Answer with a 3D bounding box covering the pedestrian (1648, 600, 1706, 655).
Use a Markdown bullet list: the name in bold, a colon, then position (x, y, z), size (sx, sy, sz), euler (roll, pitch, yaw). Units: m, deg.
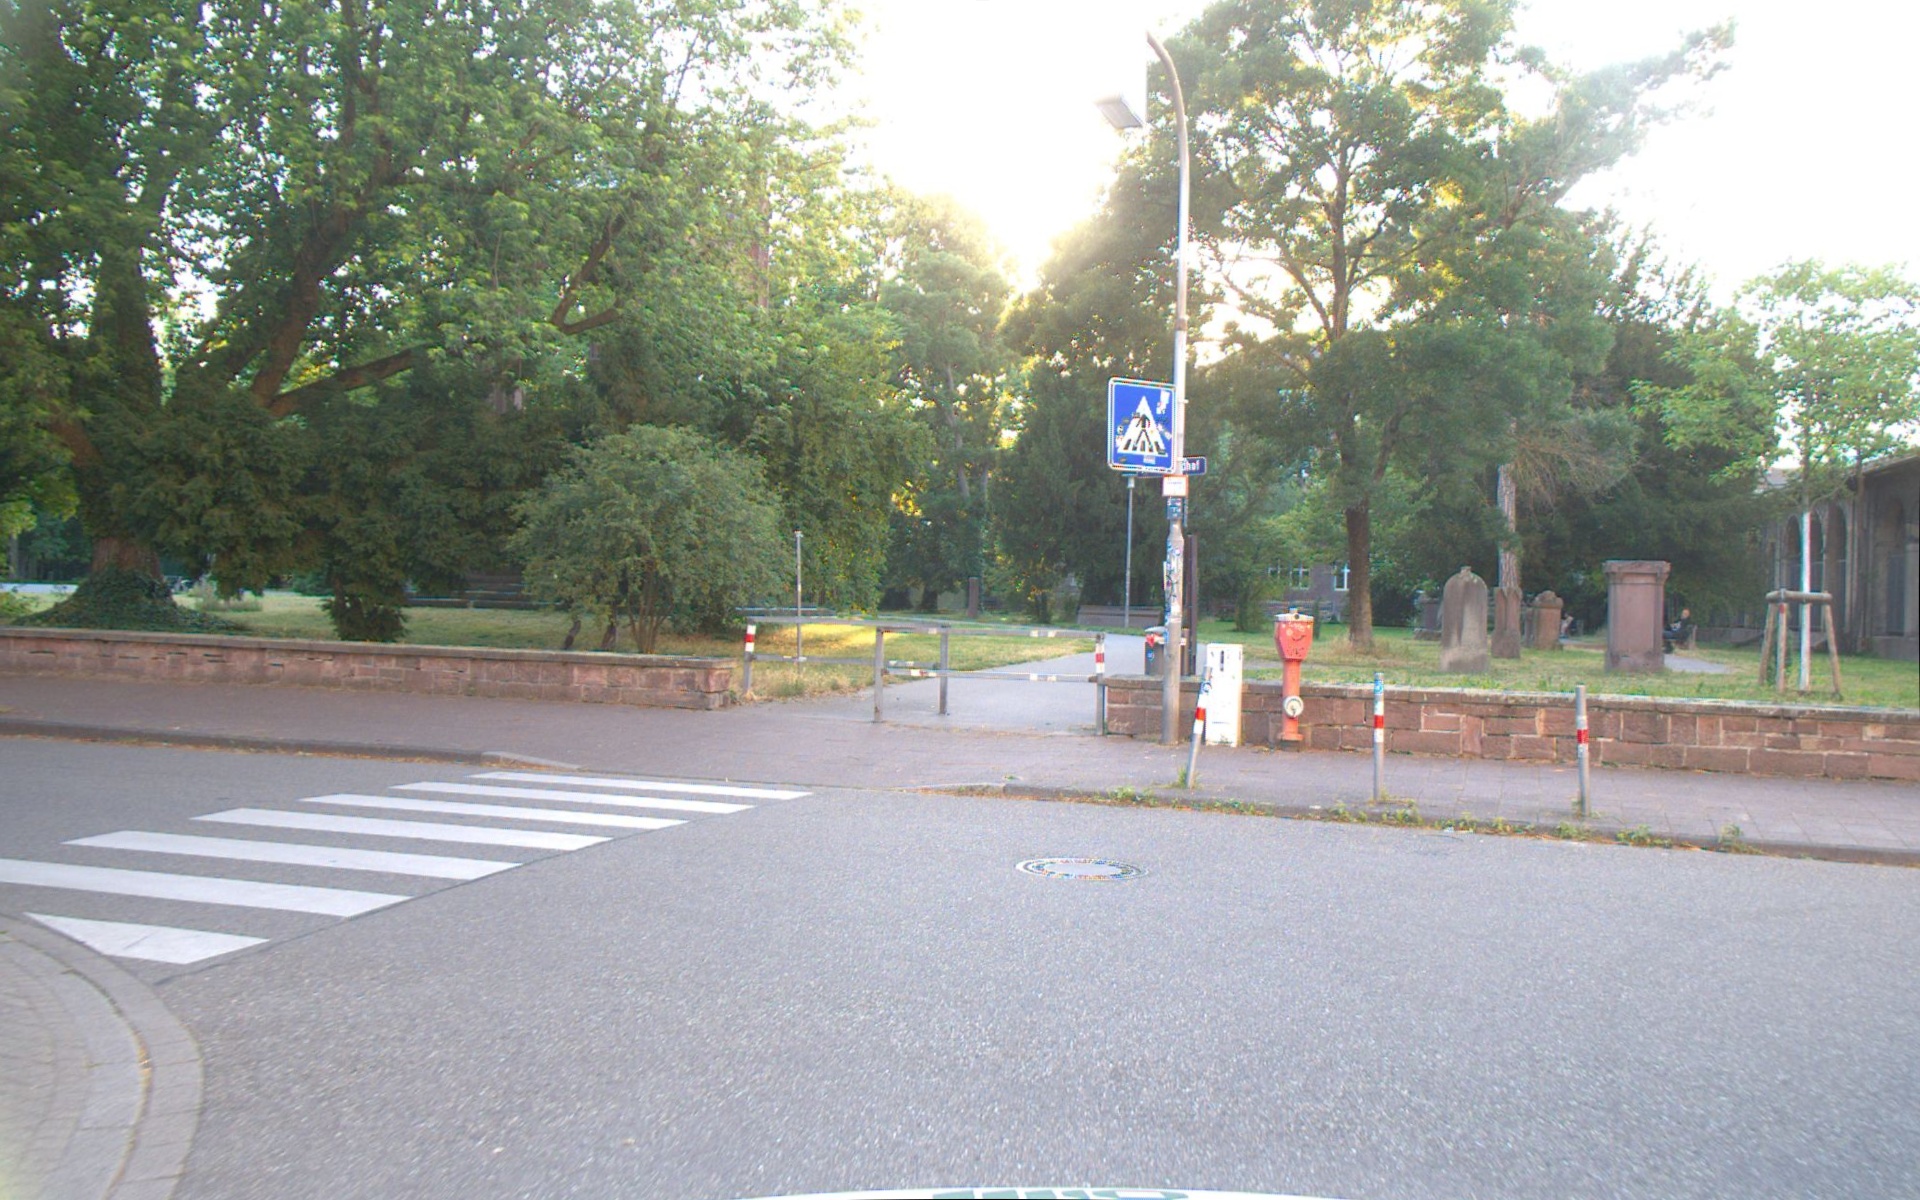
- **pedestrian**: position (19.867, 0.757, 45.838), size (1.300, 1.469, 1.047), euler (1, 0, 15)
